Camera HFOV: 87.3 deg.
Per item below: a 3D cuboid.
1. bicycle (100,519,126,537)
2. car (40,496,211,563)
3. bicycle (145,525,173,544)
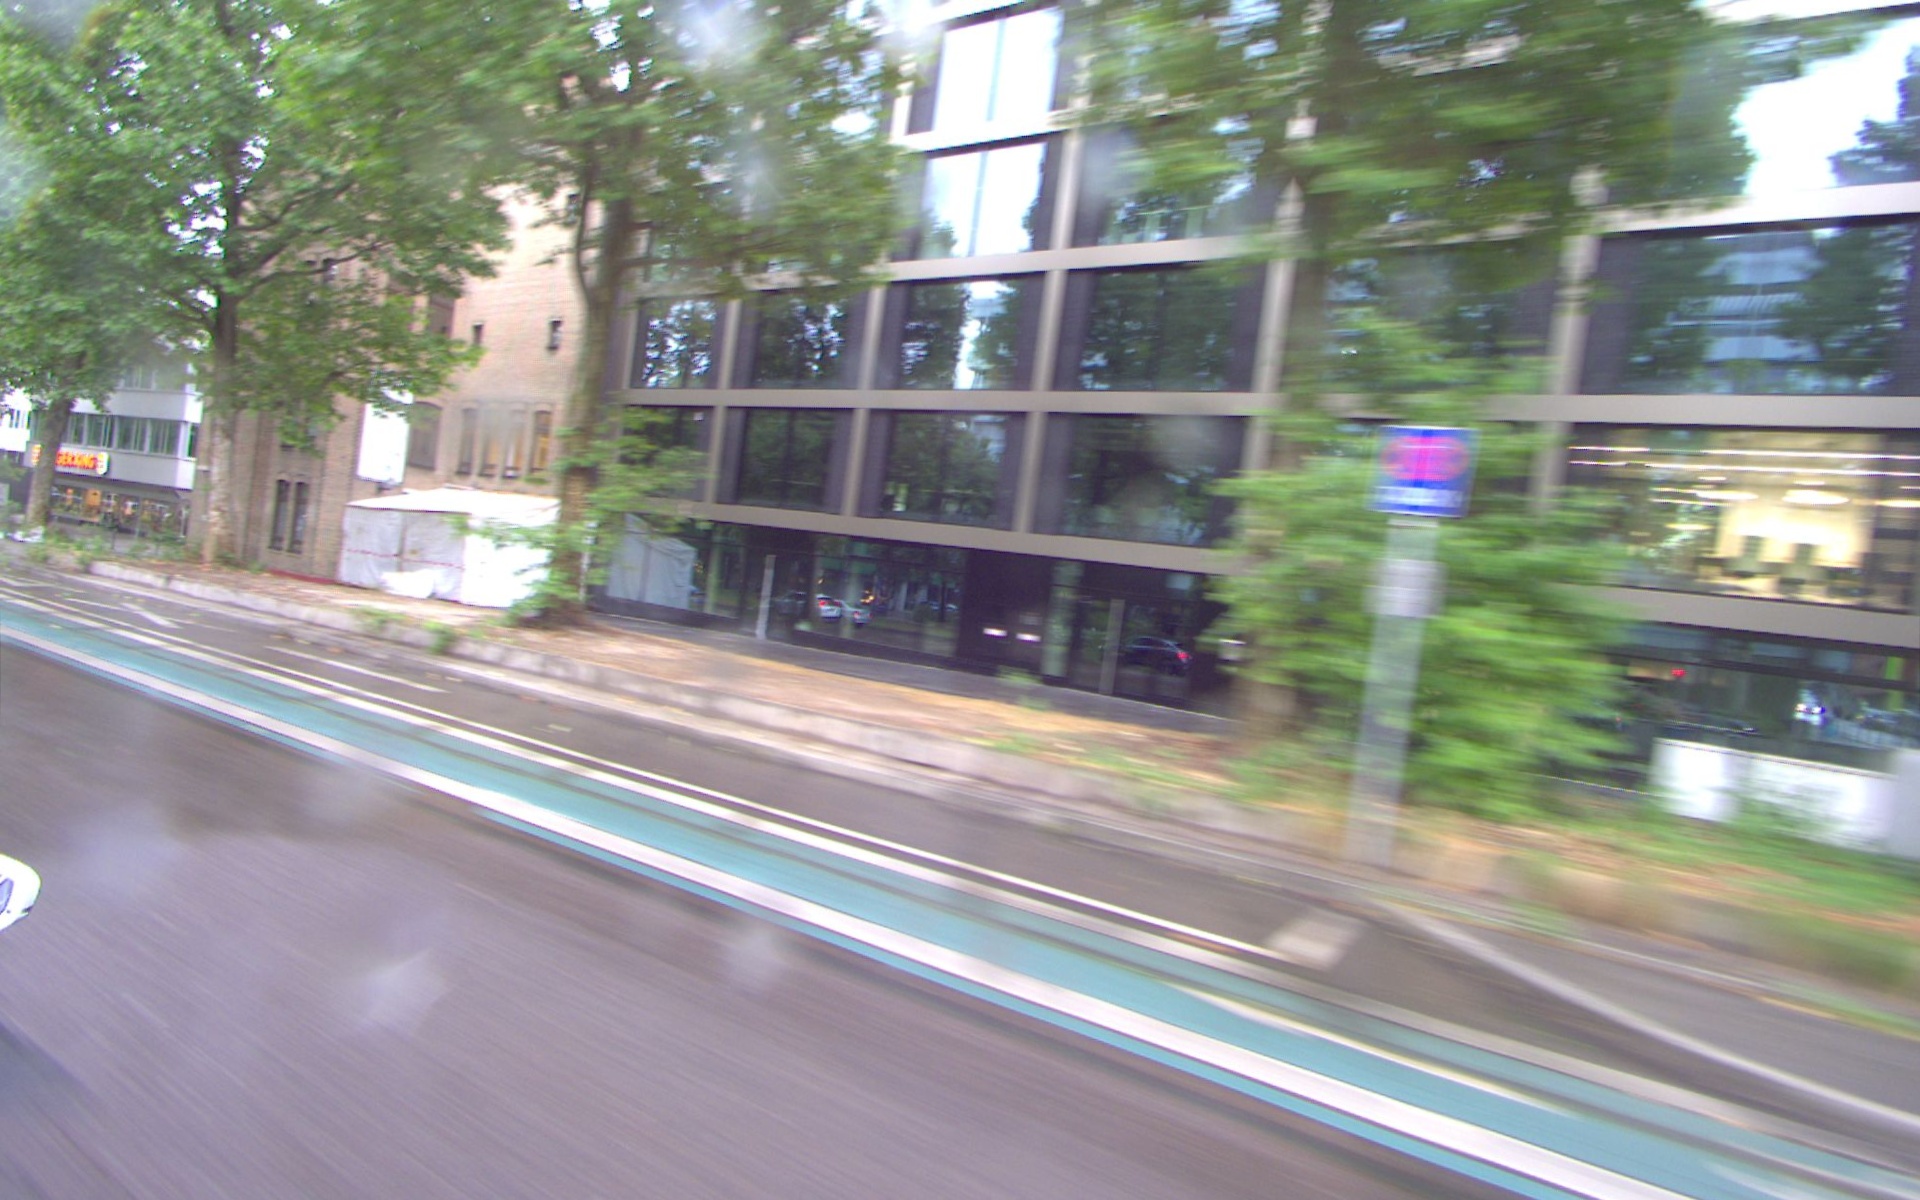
[{"bbox_3d":[-47.869,-4.065,56.871,1.993,0.846,0.449,6,-2,32],"label":"bicycle"},{"bbox_3d":[-20.268,-1.676,24.568,2.861,1.086,1.446,9,-3,-28],"label":"car"},{"bbox_3d":[-43.078,-3.525,54.118,1.993,0.846,0.449,6,-2,32],"label":"bicycle"}]
